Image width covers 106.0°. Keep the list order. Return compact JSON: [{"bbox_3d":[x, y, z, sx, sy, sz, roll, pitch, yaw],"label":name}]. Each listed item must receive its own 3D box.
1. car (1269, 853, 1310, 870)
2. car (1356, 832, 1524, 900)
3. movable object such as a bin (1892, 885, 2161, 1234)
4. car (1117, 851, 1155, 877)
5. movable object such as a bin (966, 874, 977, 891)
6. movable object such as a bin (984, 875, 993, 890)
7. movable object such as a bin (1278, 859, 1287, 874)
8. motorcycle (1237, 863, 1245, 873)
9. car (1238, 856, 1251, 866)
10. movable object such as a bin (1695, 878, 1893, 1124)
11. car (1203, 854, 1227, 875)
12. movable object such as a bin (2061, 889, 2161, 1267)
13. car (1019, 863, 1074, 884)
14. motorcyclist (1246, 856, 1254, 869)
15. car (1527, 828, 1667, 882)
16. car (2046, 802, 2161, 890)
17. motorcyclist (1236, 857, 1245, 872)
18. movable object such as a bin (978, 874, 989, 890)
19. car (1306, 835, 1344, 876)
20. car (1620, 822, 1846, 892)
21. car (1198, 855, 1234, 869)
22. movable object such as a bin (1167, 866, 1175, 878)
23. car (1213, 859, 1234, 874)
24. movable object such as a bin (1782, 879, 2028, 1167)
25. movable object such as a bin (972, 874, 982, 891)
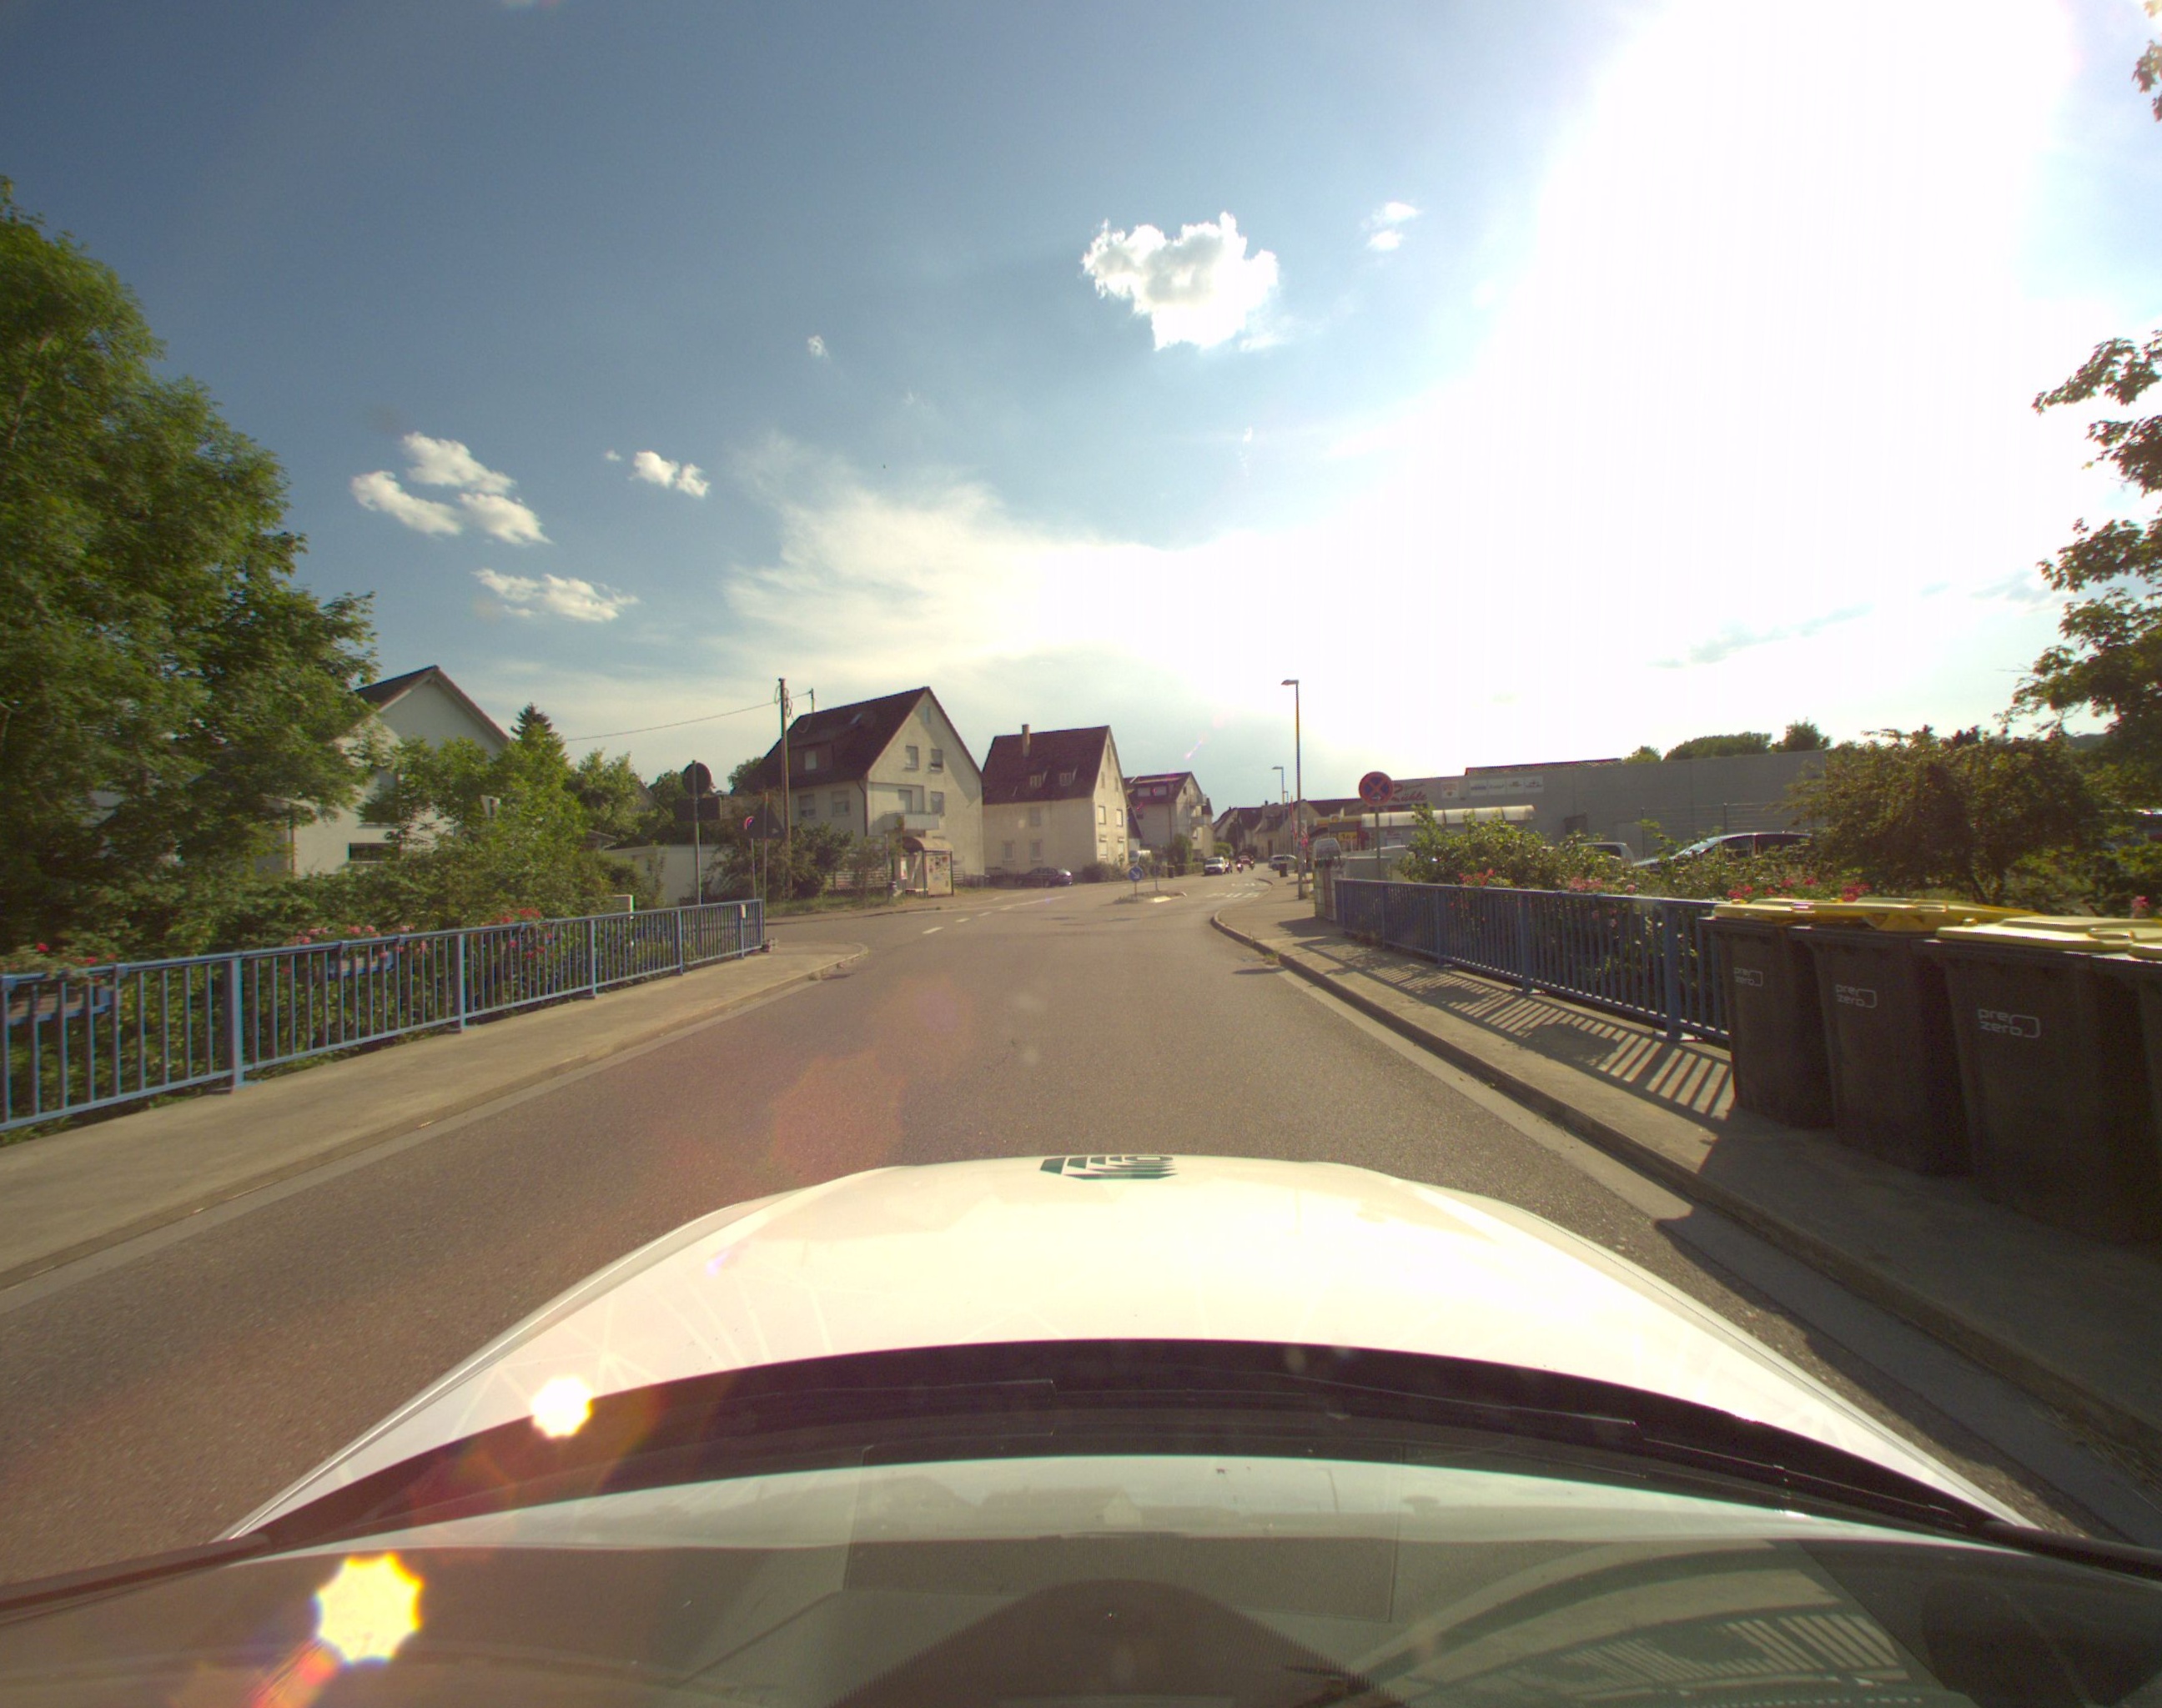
[{"bbox_3d":[21.851,0.750,85.266,3.957,1.608,2.008,-2,-1,16],"label":"car"},{"bbox_3d":[9.533,0.353,21.960,3.908,1.603,1.690,-3,-2,16],"label":"car"},{"bbox_3d":[3.554,0.706,3.029,0.477,1.143,0.539,-3,-1,1],"label":"movable object such as a bin"},{"bbox_3d":[5.857,1.061,86.027,2.140,2.596,6.126,-2,0,21],"label":"car"},{"bbox_3d":[-6.755,1.749,50.155,0.357,1.016,0.561,-3,-3,33],"label":"movable object such as a bin"},{"bbox_3d":[-5.861,1.810,51.652,0.357,0.925,0.402,-3,-3,33],"label":"movable object such as a bin"},{"bbox_3d":[14.686,0.884,59.412,0.563,1.075,0.575,-4,-1,12],"label":"movable object such as a bin"},{"bbox_3d":[16.442,1.471,83.731,0.534,1.012,2.037,0,-1,19],"label":"motorcycle"},{"bbox_3d":[26.175,1.066,130.516,1.698,1.435,3.790,-4,-1,9],"label":"car"},{"bbox_3d":[3.613,0.710,4.167,0.477,1.143,0.539,-3,-1,1],"label":"movable object such as a bin"},{"bbox_3d":[13.524,1.036,82.060,1.703,1.872,4.211,-4,-1,17],"label":"car"},{"bbox_3d":[3.538,0.690,2.443,0.477,1.143,0.539,-3,-1,1],"label":"movable object such as a bin"},{"bbox_3d":[-2.519,1.442,58.958,3.950,1.433,1.663,-2,0,44],"label":"car"},{"bbox_3d":[19.740,0.996,95.077,0.796,1.436,1.042,-1,-1,19],"label":"motorcyclist"},{"bbox_3d":[16.195,0.048,25.741,3.408,1.417,1.506,-4,-2,21],"label":"car"},{"bbox_3d":[21.148,-0.188,15.411,1.665,1.653,3.967,-3,-1,15],"label":"car"},{"bbox_3d":[16.409,1.057,83.664,0.730,1.527,1.021,0,-1,18],"label":"motorcyclist"},{"bbox_3d":[-6.134,1.770,51.198,0.357,1.023,0.580,-3,-3,33],"label":"movable object such as a bin"},{"bbox_3d":[15.269,0.106,51.144,1.824,2.375,5.196,-3,-1,13],"label":"car"},{"bbox_3d":[15.759,0.101,19.921,3.908,1.449,1.690,-3,-2,16],"label":"car"},{"bbox_3d":[16.311,0.925,98.371,3.950,1.538,1.773,2,1,27],"label":"car"},{"bbox_3d":[8.025,1.581,72.394,0.606,1.101,0.578,-2,-2,17],"label":"movable object such as a bin"},{"bbox_3d":[15.209,1.334,87.051,1.659,1.451,3.851,-3,-1,17],"label":"car"},{"bbox_3d":[3.597,0.698,3.598,0.477,1.143,0.539,-3,-1,1],"label":"movable object such as a bin"},{"bbox_3d":[-6.457,1.754,50.638,0.357,1.041,0.561,-3,-3,33],"label":"movable object such as a bin"}]
